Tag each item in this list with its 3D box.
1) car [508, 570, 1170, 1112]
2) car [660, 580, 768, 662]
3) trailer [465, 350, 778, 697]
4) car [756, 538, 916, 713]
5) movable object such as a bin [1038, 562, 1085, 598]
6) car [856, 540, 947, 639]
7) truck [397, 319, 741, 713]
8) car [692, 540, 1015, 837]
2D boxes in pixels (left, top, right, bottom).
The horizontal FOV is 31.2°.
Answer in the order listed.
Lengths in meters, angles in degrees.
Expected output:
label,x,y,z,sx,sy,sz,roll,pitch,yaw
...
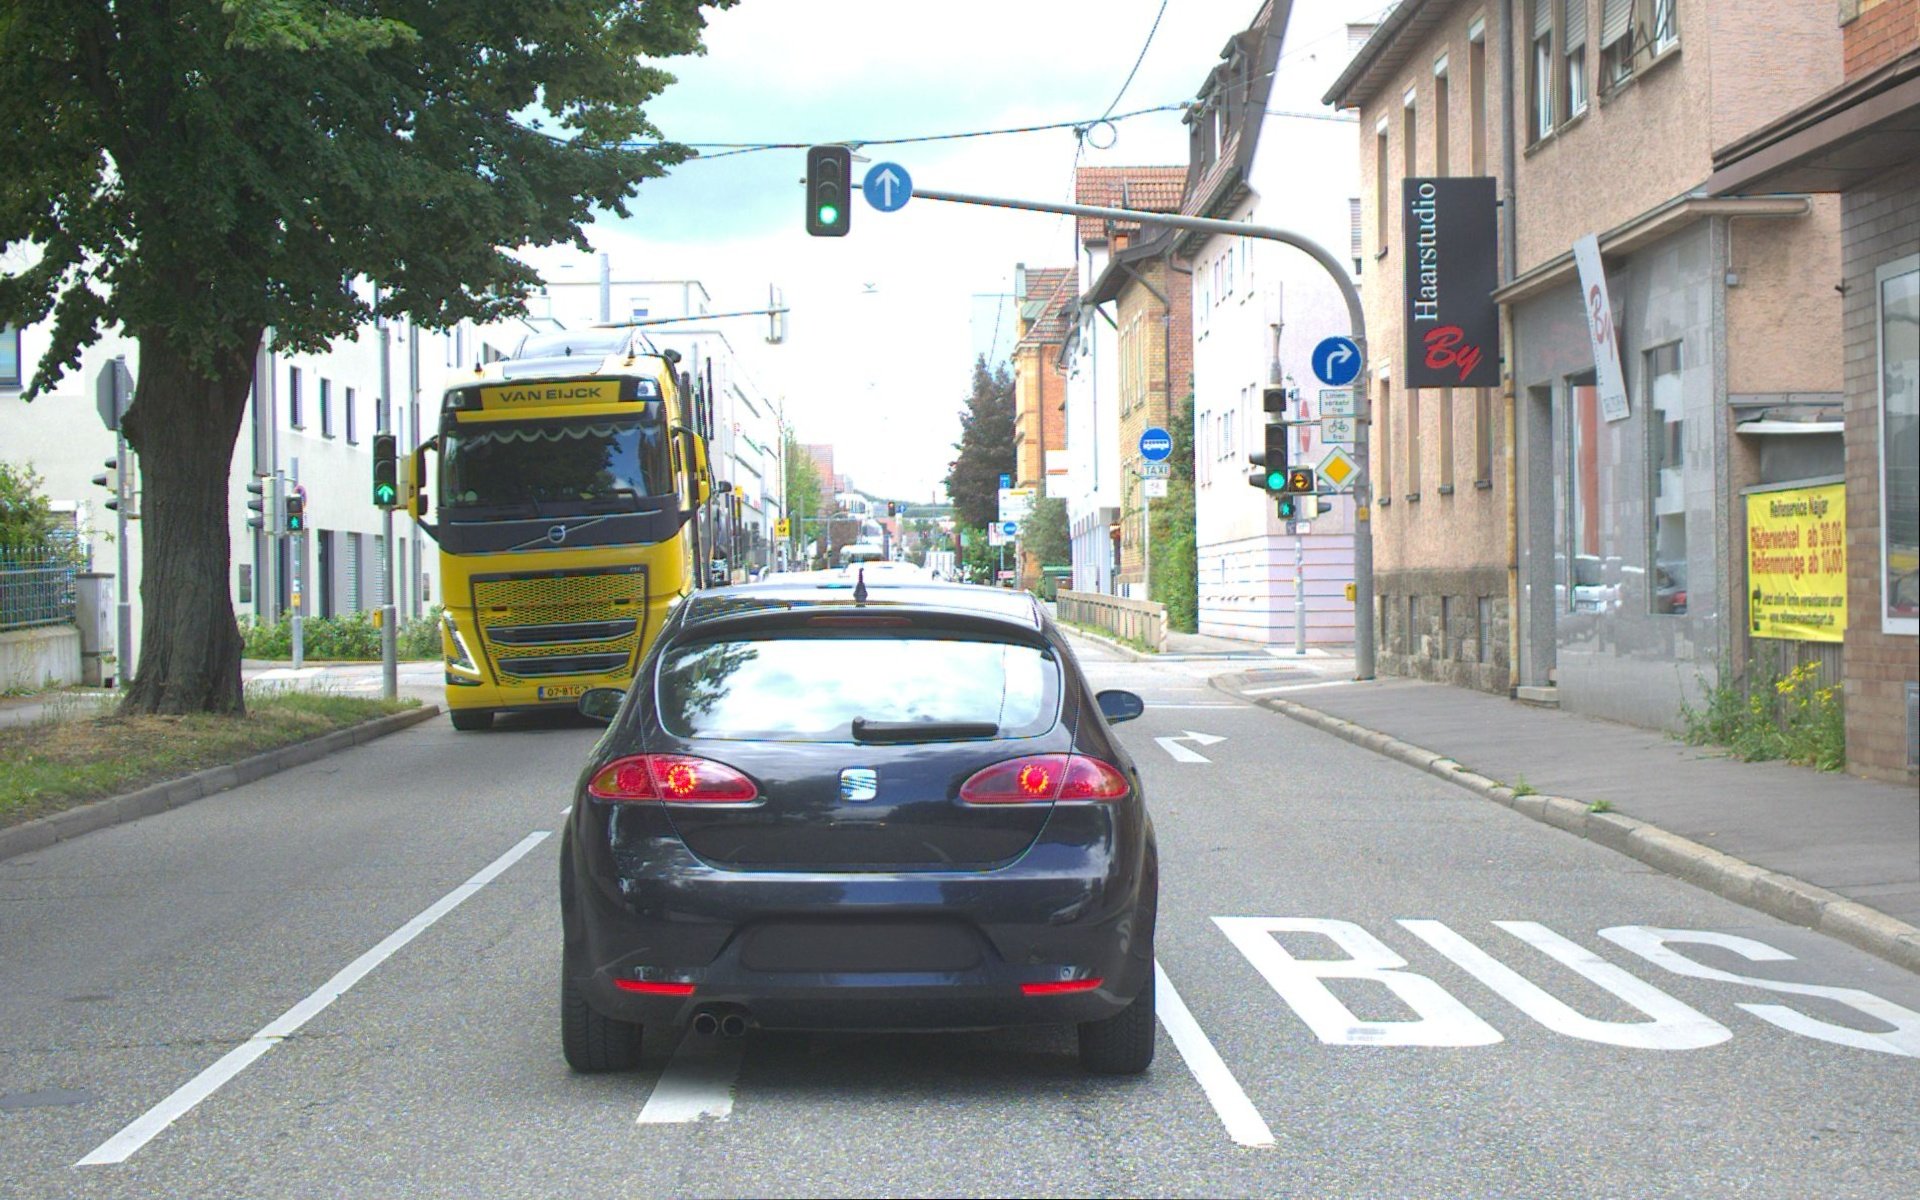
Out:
label,x,y,z,sx,sy,sz,roll,pitch,yaw
car,-0.357,0.642,11.201,1.759,1.437,4.000,1,0,-1
car,-4.795,0.397,67.462,1.767,1.465,4.226,-3,0,0
trailer,-4.108,-0.856,45.062,2.858,3.795,14.391,1,0,-1
car,-1.246,0.246,35.229,1.531,1.687,3.693,1,0,-1
movable object such as a bin,4.093,-0.816,138.890,1.818,1.432,1.993,1,0,0
car,-1.039,-0.181,60.638,1.531,1.687,3.693,1,0,-1
truck,-4.013,-0.816,36.956,2.843,3.769,7.669,1,0,0
car,-0.656,0.506,21.734,1.842,1.687,4.000,1,0,-1
